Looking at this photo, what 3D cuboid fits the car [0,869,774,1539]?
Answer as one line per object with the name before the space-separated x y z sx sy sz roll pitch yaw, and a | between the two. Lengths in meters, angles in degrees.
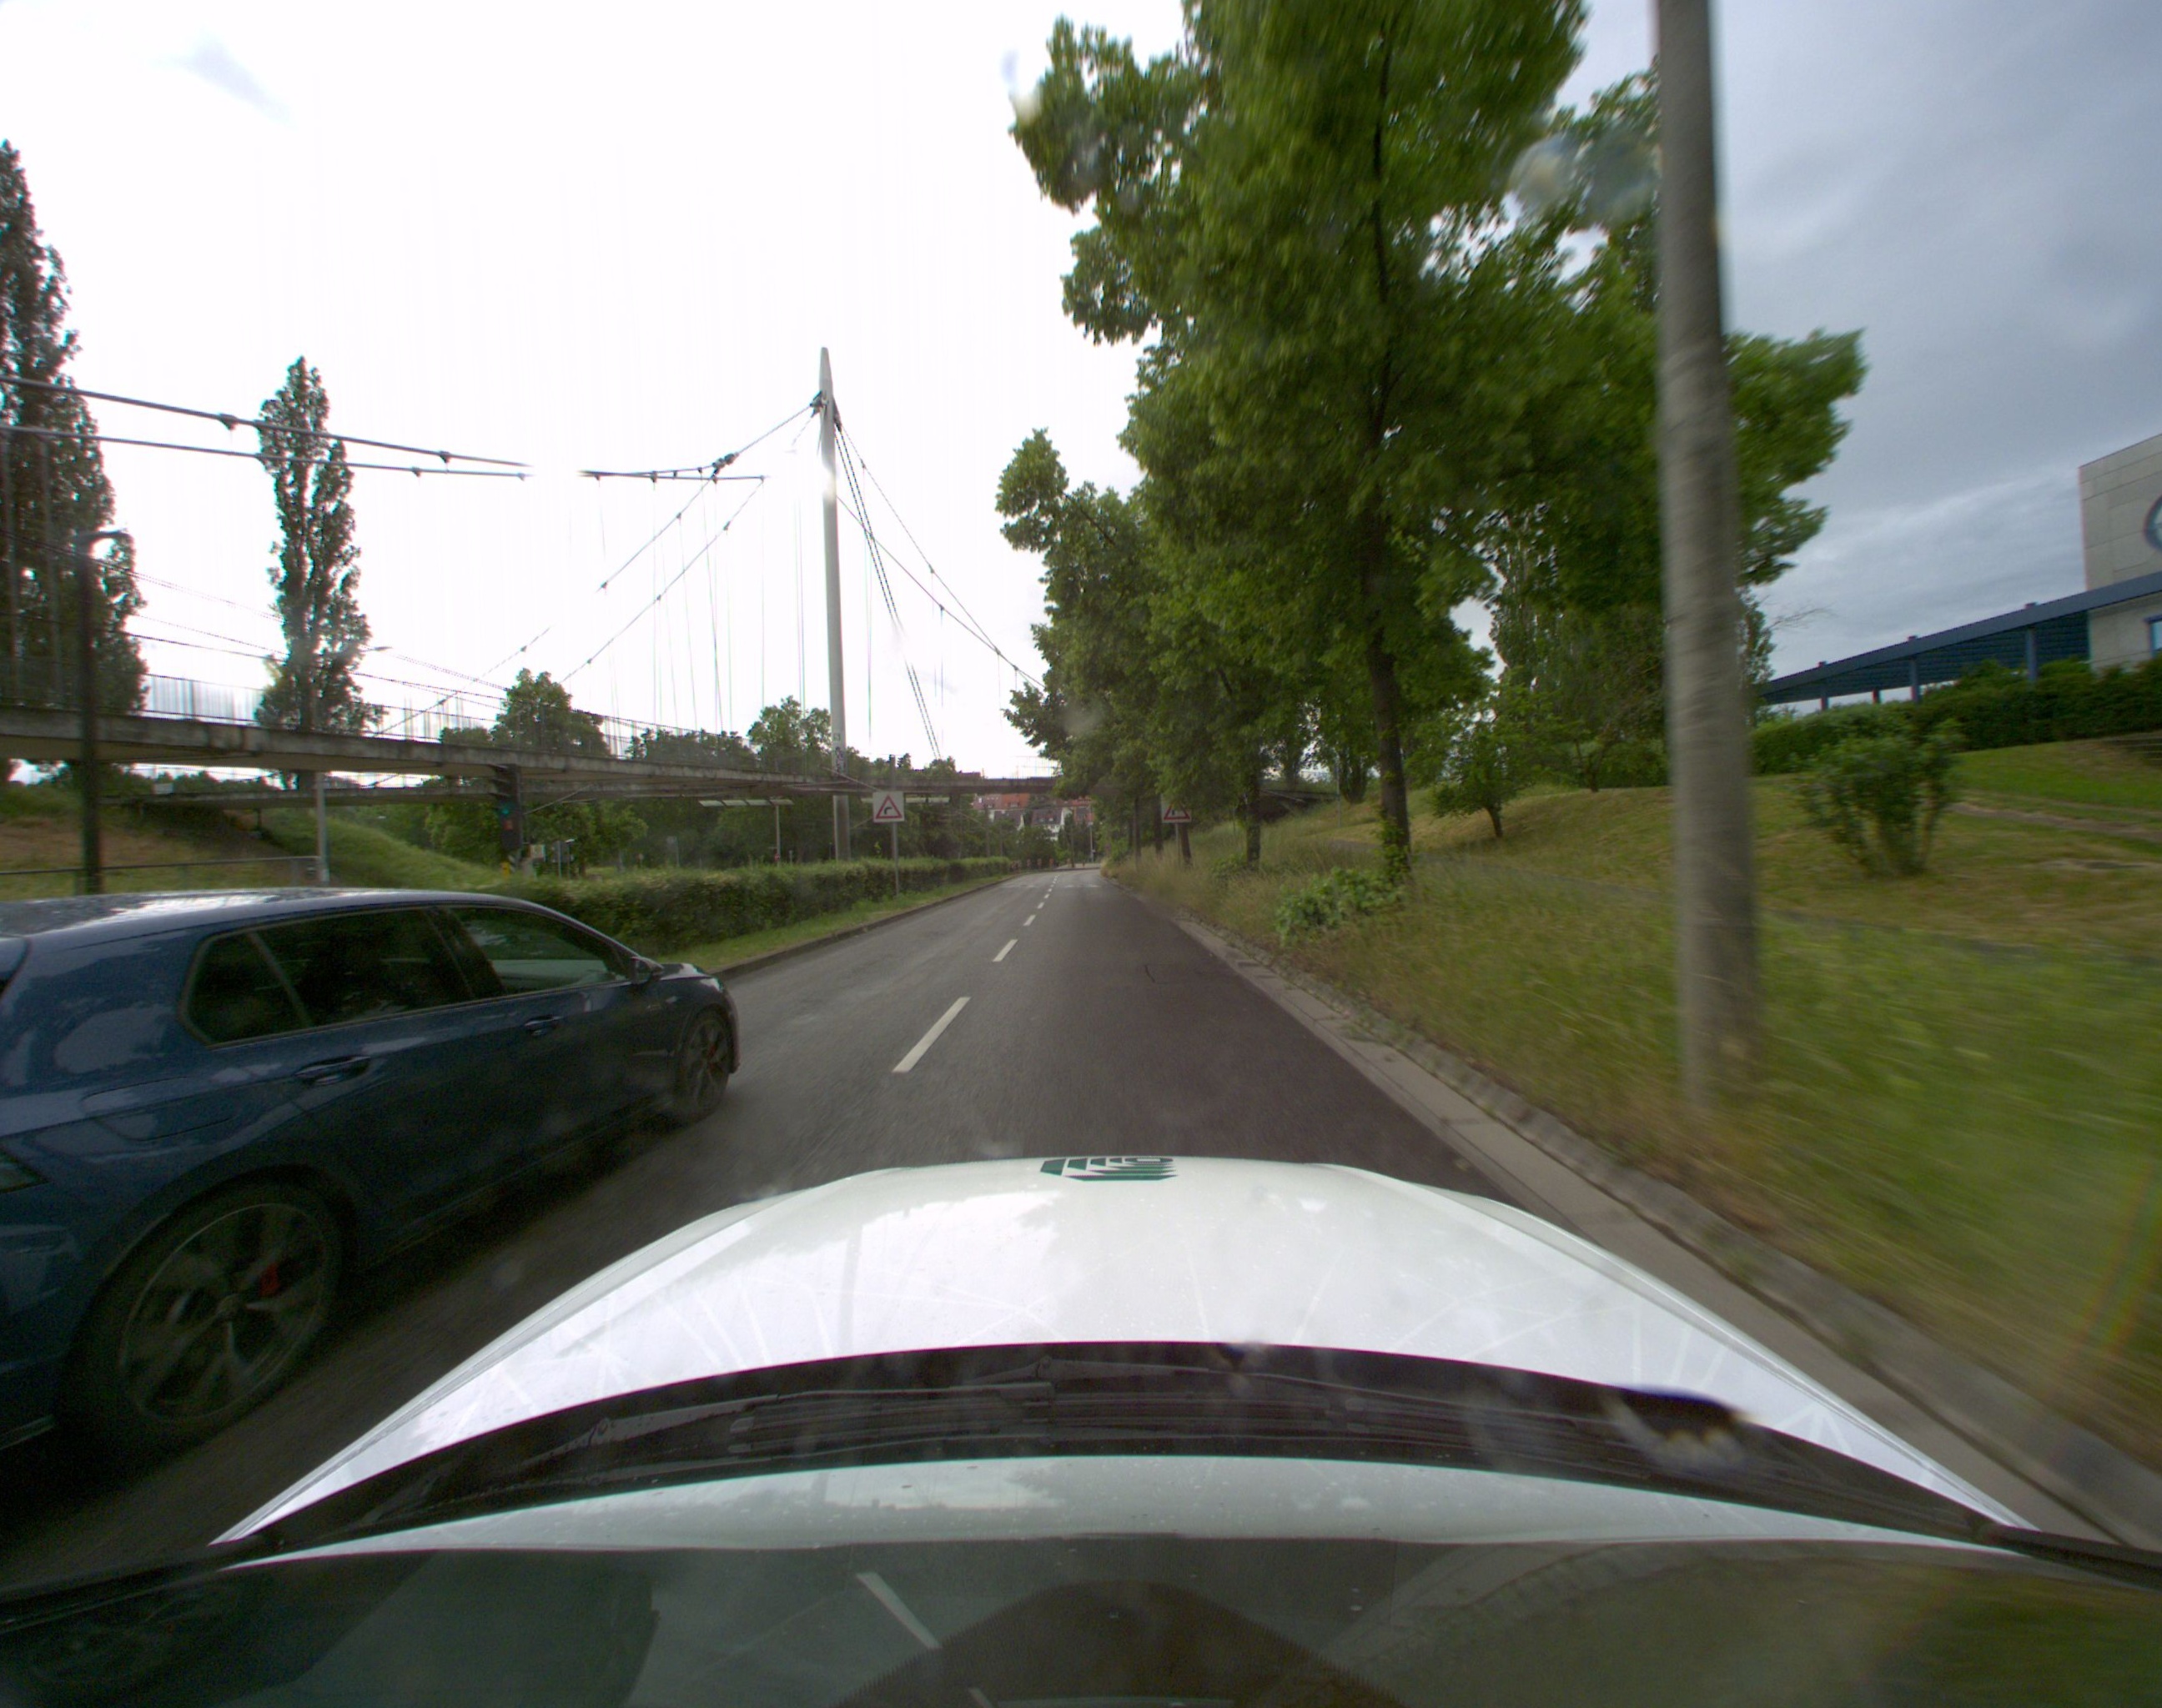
car | -3.148 0.795 3.584 1.801 1.378 4.349 -1 0 2
